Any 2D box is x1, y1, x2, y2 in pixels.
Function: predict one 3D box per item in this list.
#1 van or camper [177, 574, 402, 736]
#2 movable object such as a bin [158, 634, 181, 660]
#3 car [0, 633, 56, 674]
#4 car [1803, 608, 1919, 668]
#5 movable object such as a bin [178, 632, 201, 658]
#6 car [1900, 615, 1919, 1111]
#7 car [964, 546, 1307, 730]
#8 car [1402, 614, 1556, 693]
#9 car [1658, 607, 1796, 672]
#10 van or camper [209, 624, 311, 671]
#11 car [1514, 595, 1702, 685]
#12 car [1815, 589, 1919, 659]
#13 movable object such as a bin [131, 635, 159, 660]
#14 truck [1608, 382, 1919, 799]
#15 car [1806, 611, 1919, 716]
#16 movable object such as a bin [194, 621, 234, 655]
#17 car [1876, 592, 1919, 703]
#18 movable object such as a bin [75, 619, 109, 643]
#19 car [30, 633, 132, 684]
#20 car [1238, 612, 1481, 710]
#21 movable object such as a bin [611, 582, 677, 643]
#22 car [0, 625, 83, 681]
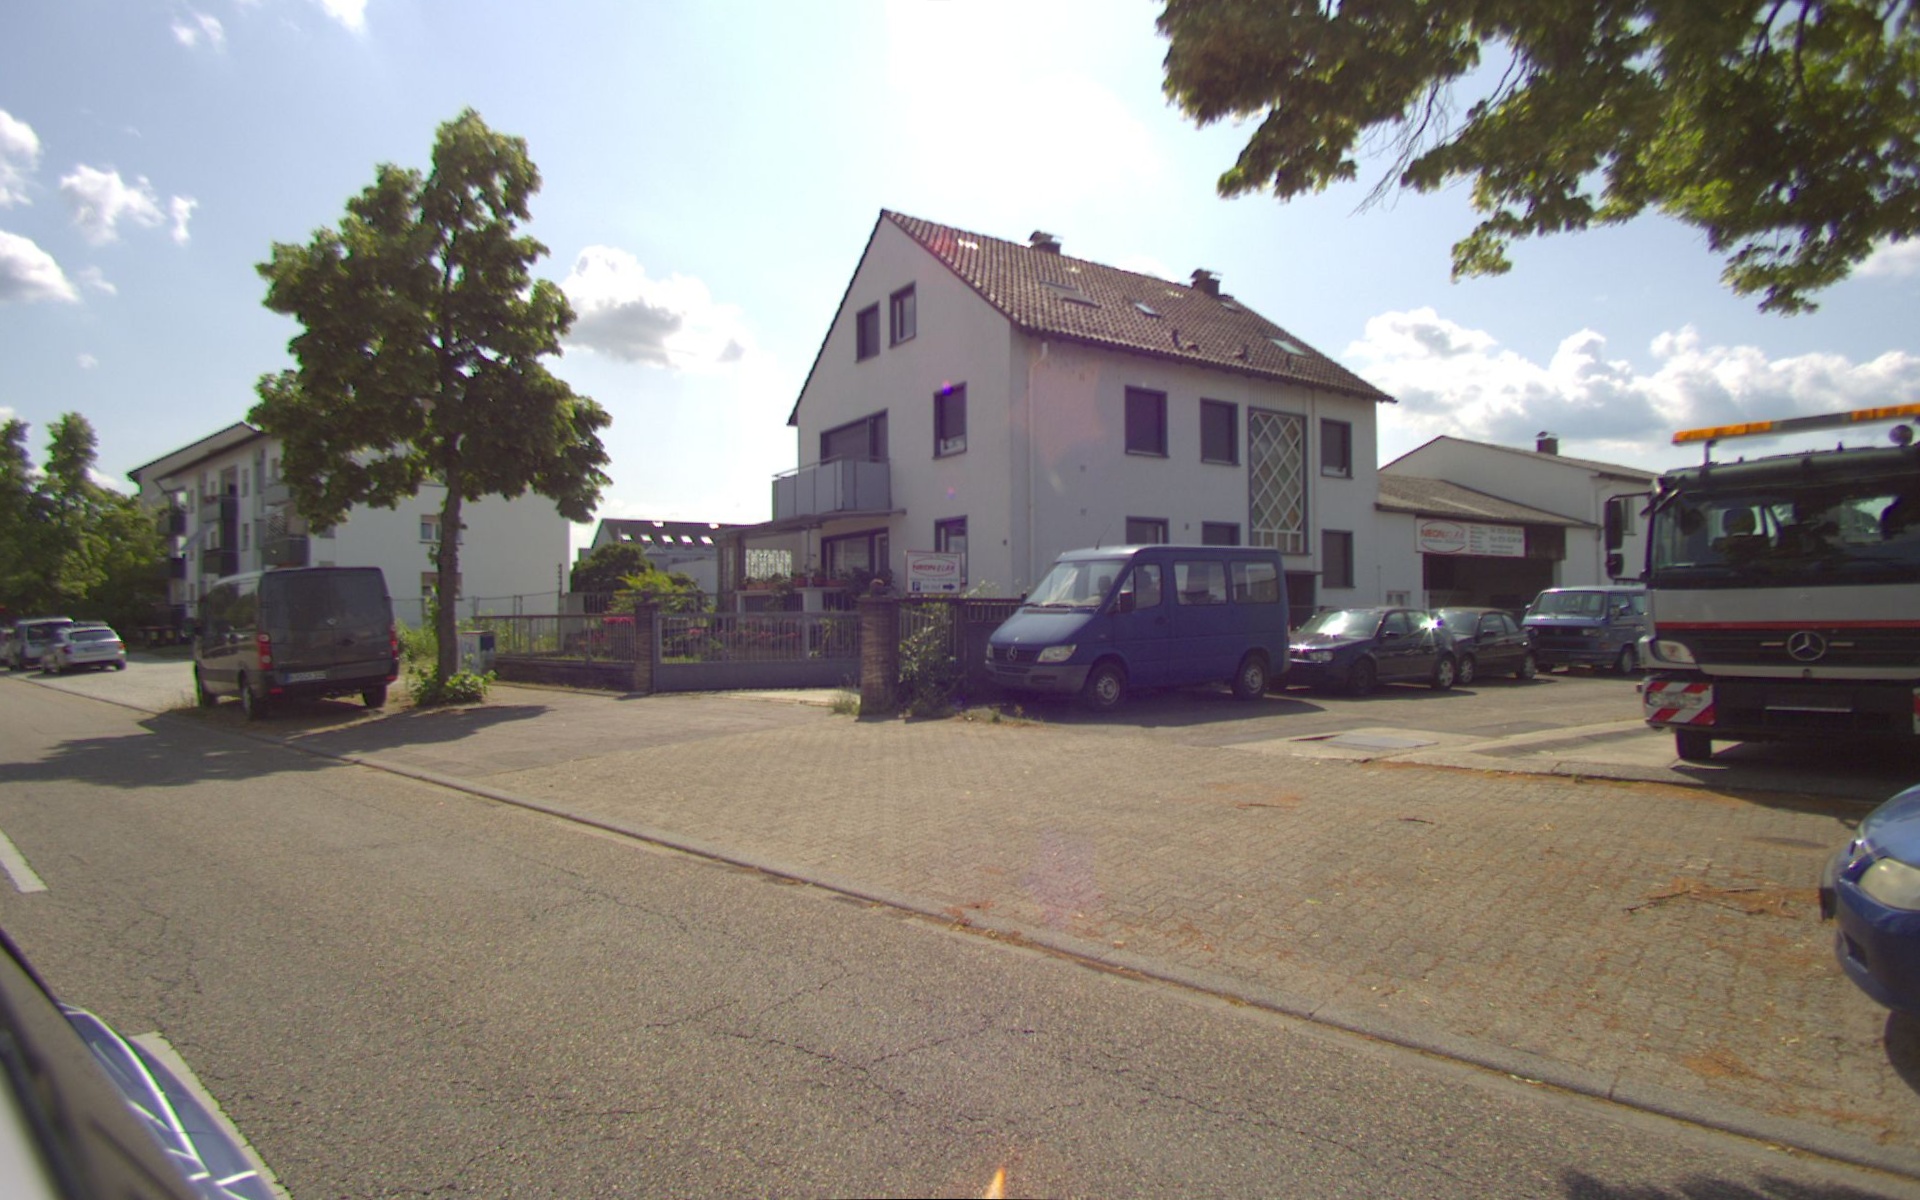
[{"bbox_3d":[-11.859,0.849,17.662,5.935,2.334,1.971,-2,1,44],"label":"van or camper"},{"bbox_3d":[-38.640,2.305,49.462,0.806,1.223,0.742,-4,-3,42],"label":"movable object such as a bin"},{"bbox_3d":[-38.205,2.134,41.291,3.925,1.480,1.605,-1,1,43],"label":"car"},{"bbox_3d":[25.726,1.022,28.802,3.851,1.599,1.749,0,-1,-36],"label":"car"},{"bbox_3d":[-38.110,2.223,50.043,0.806,1.223,0.742,-4,-3,42],"label":"movable object such as a bin"},{"bbox_3d":[4.948,0.753,2.198,1.679,1.495,4.161,0,-2,-44],"label":"car"},{"bbox_3d":[2.631,0.473,14.596,4.934,2.248,2.005,0,-1,-36],"label":"car"},{"bbox_3d":[10.241,1.003,19.926,2.958,1.416,1.506,0,-1,-36],"label":"car"},{"bbox_3d":[20.324,0.973,26.777,3.851,1.599,1.857,0,0,-36],"label":"car"},{"bbox_3d":[-25.982,1.721,37.717,1.751,1.554,4.010,-2,0,-13],"label":"van or camper"},{"bbox_3d":[14.399,0.824,22.426,4.420,1.806,2.005,0,-1,-36],"label":"car"},{"bbox_3d":[29.203,0.745,32.446,3.851,2.117,1.857,0,-1,-36],"label":"car"},{"bbox_3d":[-39.233,2.269,48.725,0.824,1.158,0.943,-4,-3,41],"label":"movable object such as a bin"},{"bbox_3d":[9.577,0.027,10.509,9.150,2.878,2.722,1,-3,-44],"label":"truck"},{"bbox_3d":[14.703,0.897,14.494,1.622,1.490,3.763,0,-1,-42],"label":"car"},{"bbox_3d":[-35.628,1.813,48.318,1.265,1.394,1.257,-9,-4,41],"label":"movable object such as a bin"},{"bbox_3d":[16.929,0.724,15.662,1.622,1.770,3.927,0,-1,-42],"label":"car"},{"bbox_3d":[-52.555,1.877,61.299,1.288,1.396,1.284,-3,-1,35],"label":"movable object such as a bin"},{"bbox_3d":[-29.288,1.949,33.670,4.704,1.472,1.731,-3,1,39],"label":"car"},{"bbox_3d":[6.652,0.919,16.771,3.802,1.416,2.005,0,0,-36],"label":"car"},{"bbox_3d":[-8.553,0.362,27.356,1.291,1.443,1.607,0,-8,-32],"label":"movable object such as a bin"},{"bbox_3d":[-33.790,1.905,37.117,4.489,1.819,1.791,-2,1,41],"label":"car"}]
